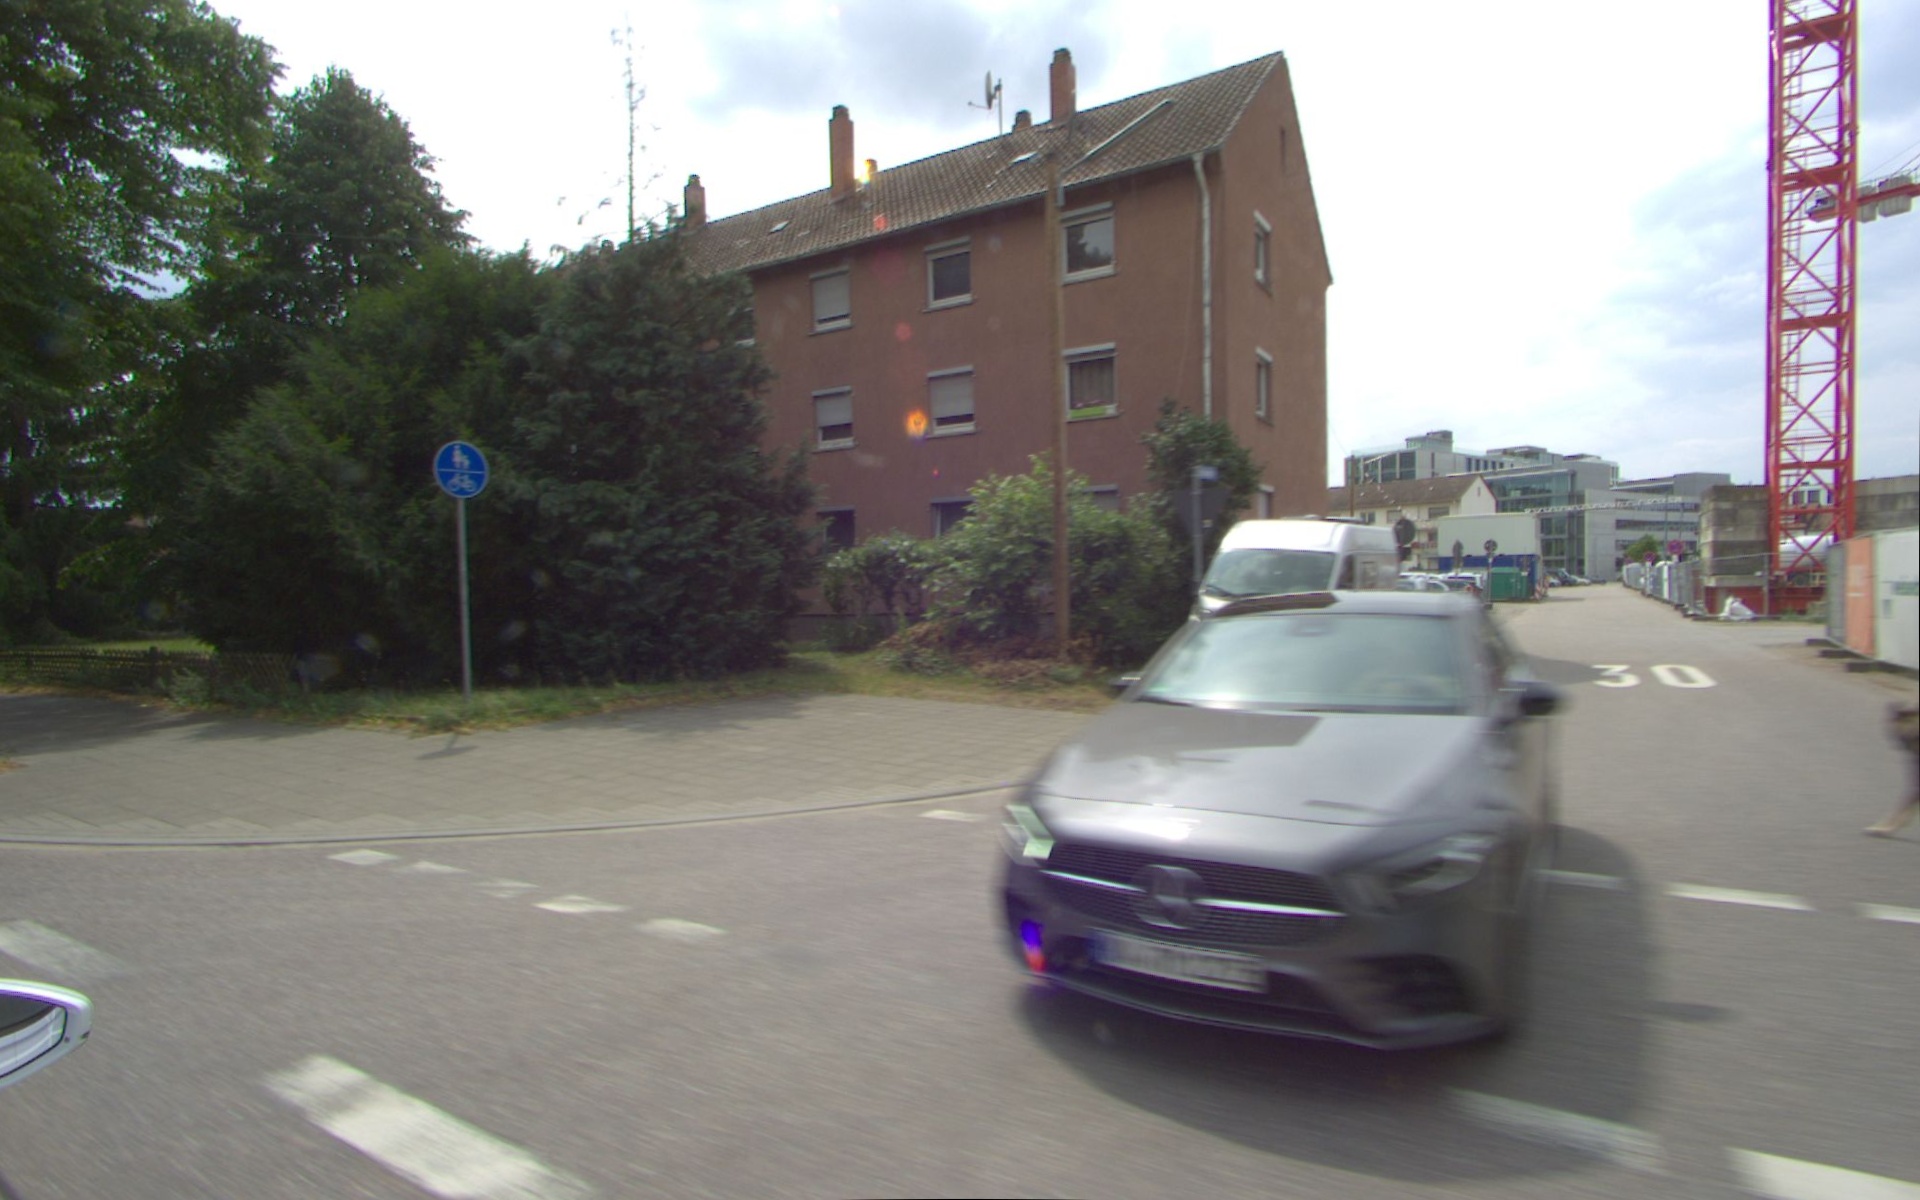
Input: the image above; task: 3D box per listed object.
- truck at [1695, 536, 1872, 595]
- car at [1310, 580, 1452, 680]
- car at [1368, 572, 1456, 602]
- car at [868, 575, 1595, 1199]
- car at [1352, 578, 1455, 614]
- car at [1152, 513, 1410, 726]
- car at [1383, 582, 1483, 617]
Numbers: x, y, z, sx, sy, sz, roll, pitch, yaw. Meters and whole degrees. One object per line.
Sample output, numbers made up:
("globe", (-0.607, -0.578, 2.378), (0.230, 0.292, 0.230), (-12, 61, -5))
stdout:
("truck", (62.338, -2.557, 76.057), (10.156, 4.191, 3.319), (1, 4, 44))
("car", (8.754, 0.504, 20.618), (1.875, 1.743, 4.182), (3, 3, 34))
("car", (24.251, -0.705, 53.768), (4.142, 1.436, 1.714), (2, 3, 29))
("car", (1.729, 0.677, 4.669), (1.983, 1.462, 4.358), (-2, 1, 33))
("car", (20.163, -0.213, 45.549), (4.142, 1.436, 1.714), (2, 3, 29))
("car", (5.153, 0.130, 15.458), (2.302, 2.669, 5.456), (3, 3, 34))
("car", (22.289, -0.069, 47.192), (4.142, 1.436, 1.714), (2, 3, 29))
